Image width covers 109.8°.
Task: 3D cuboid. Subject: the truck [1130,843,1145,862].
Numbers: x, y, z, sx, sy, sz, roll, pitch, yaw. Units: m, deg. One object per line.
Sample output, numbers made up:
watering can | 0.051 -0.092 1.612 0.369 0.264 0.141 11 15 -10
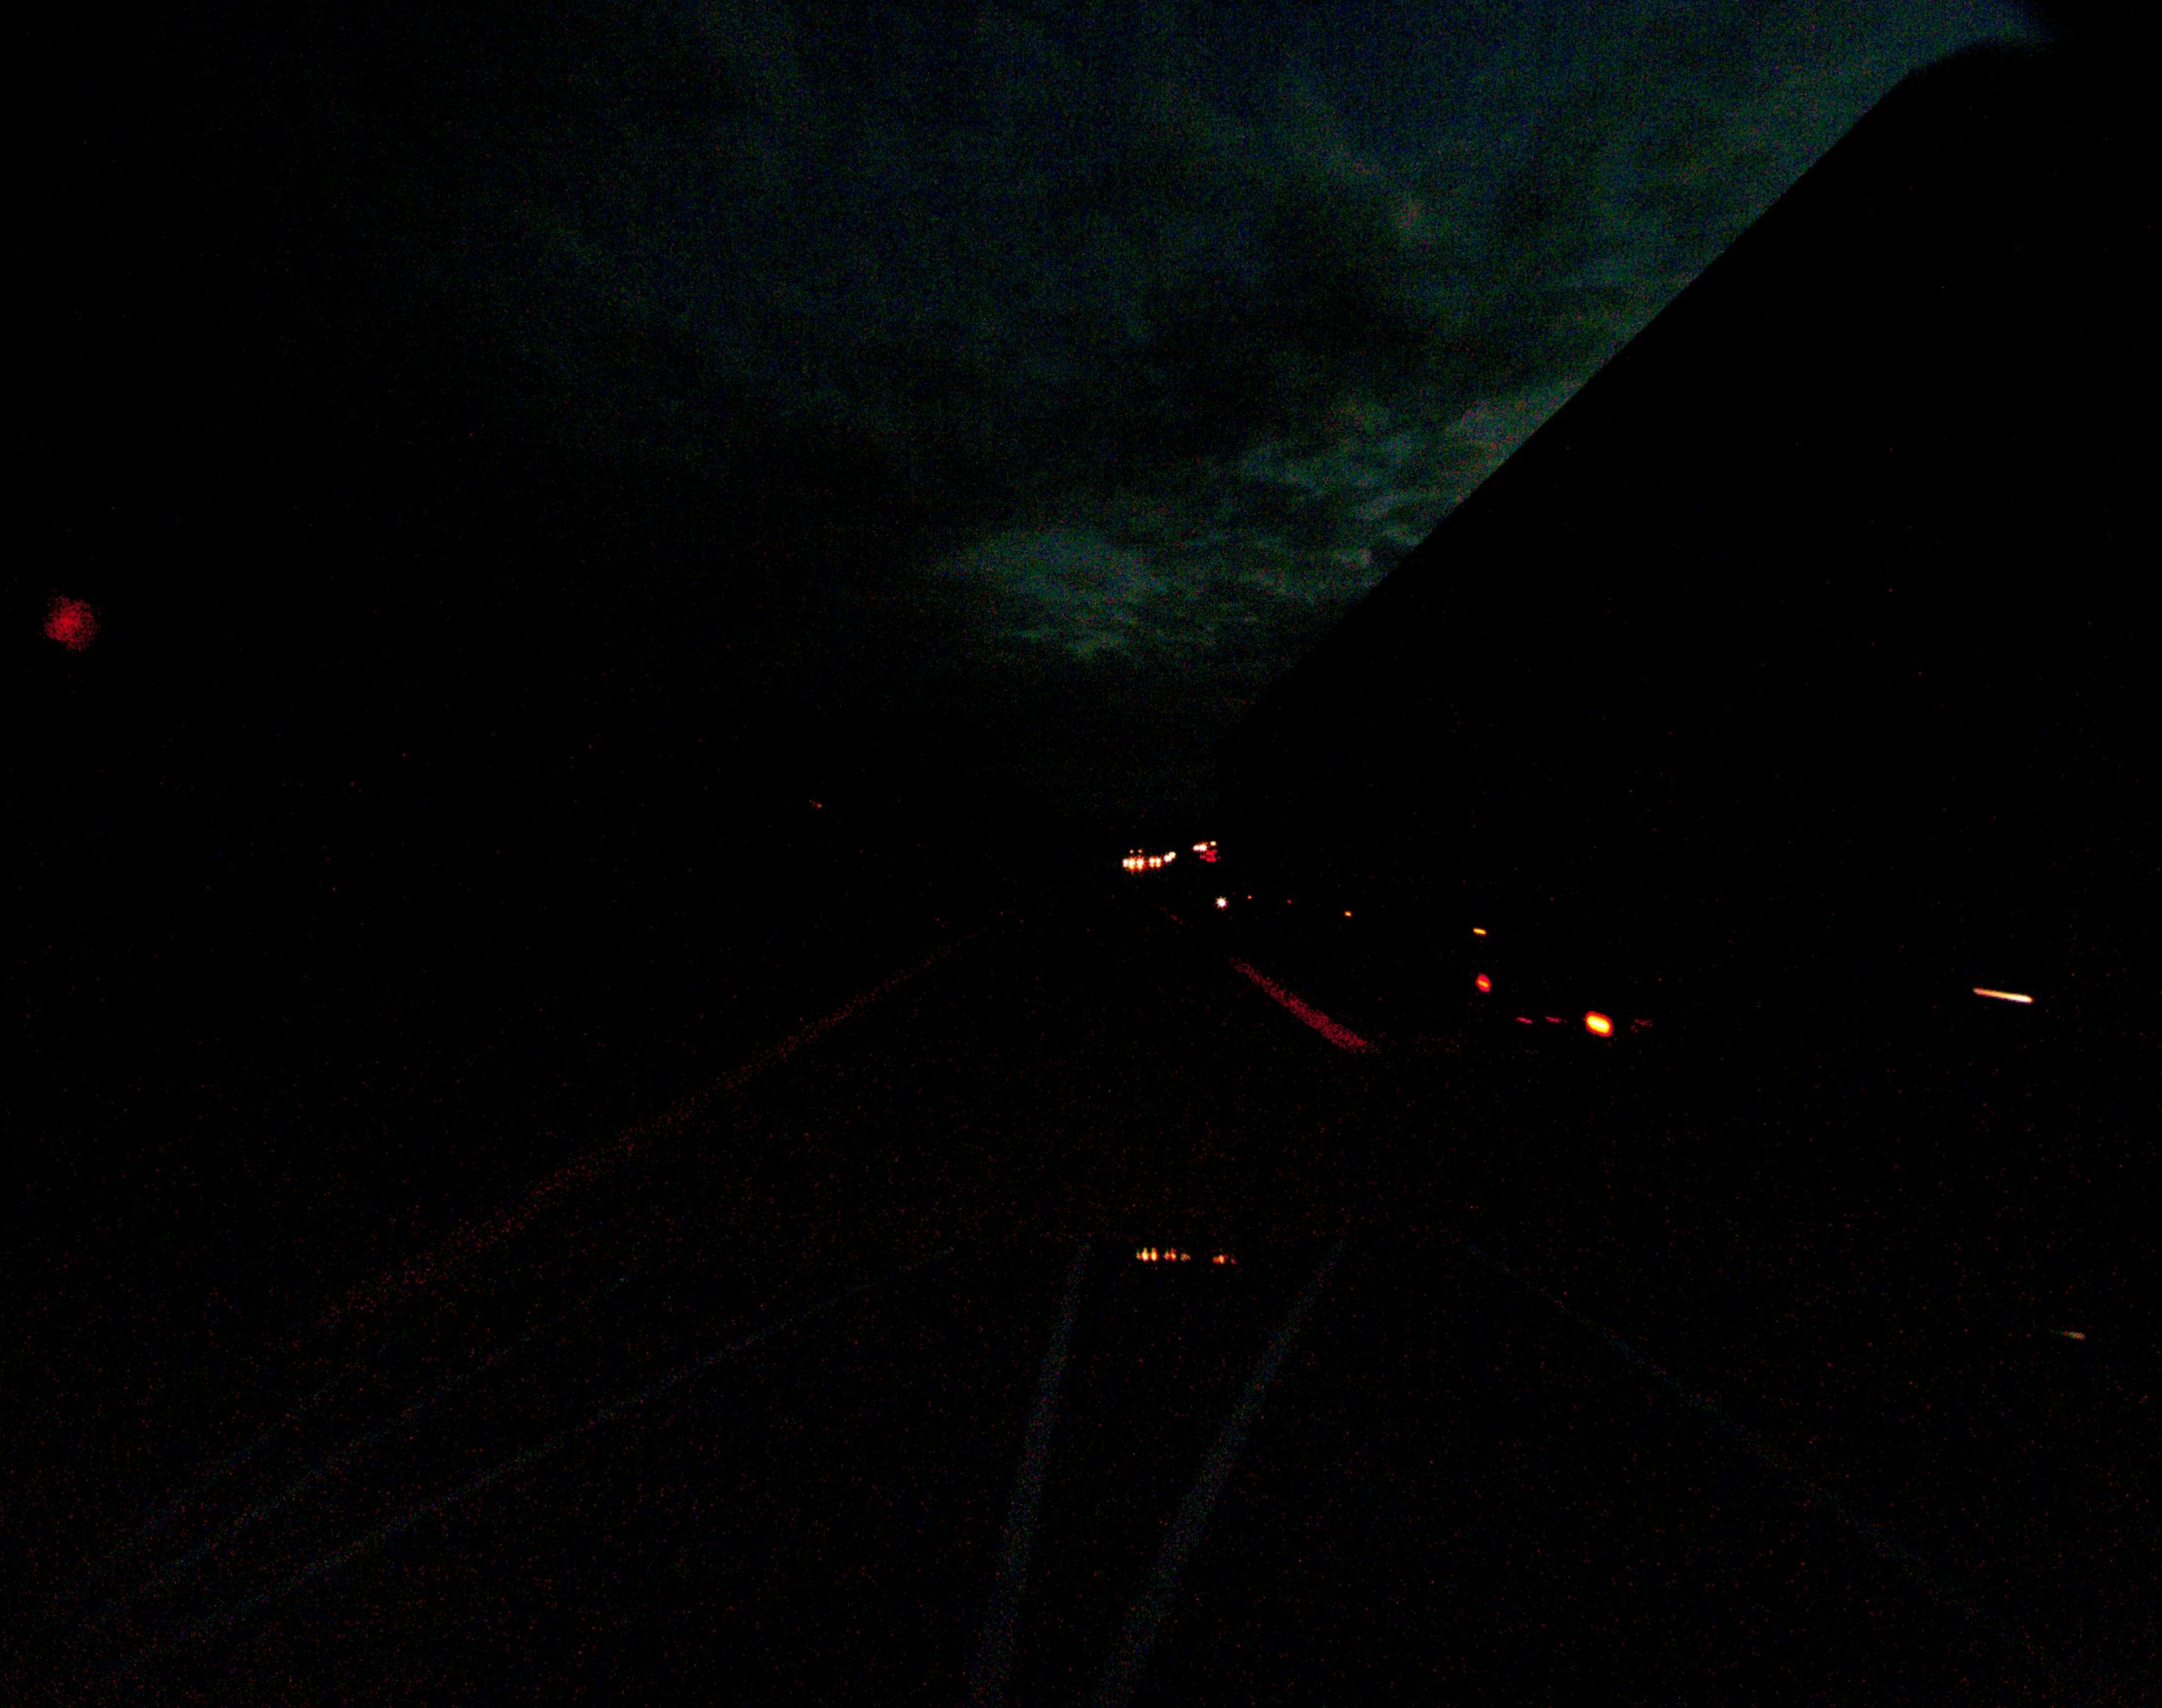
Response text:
truck | 13.340 -0.278 180.559 3.352 4.293 11.328 -1 0 4

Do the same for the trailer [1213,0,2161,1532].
trailer | 4.083 -0.339 8.761 2.780 3.892 14.820 -1 0 1

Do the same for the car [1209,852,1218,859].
car | 36.434 0.490 208.634 1.998 1.706 4.001 -3 0 4

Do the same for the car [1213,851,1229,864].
car | 22.855 0.511 123.926 1.998 2.002 4.489 -2 0 3

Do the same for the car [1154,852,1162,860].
car | 19.860 0.565 196.523 1.998 2.002 4.001 -1 0 3

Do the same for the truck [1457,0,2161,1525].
truck | 3.961 -0.352 2.131 2.786 3.879 6.155 -1 0 1
